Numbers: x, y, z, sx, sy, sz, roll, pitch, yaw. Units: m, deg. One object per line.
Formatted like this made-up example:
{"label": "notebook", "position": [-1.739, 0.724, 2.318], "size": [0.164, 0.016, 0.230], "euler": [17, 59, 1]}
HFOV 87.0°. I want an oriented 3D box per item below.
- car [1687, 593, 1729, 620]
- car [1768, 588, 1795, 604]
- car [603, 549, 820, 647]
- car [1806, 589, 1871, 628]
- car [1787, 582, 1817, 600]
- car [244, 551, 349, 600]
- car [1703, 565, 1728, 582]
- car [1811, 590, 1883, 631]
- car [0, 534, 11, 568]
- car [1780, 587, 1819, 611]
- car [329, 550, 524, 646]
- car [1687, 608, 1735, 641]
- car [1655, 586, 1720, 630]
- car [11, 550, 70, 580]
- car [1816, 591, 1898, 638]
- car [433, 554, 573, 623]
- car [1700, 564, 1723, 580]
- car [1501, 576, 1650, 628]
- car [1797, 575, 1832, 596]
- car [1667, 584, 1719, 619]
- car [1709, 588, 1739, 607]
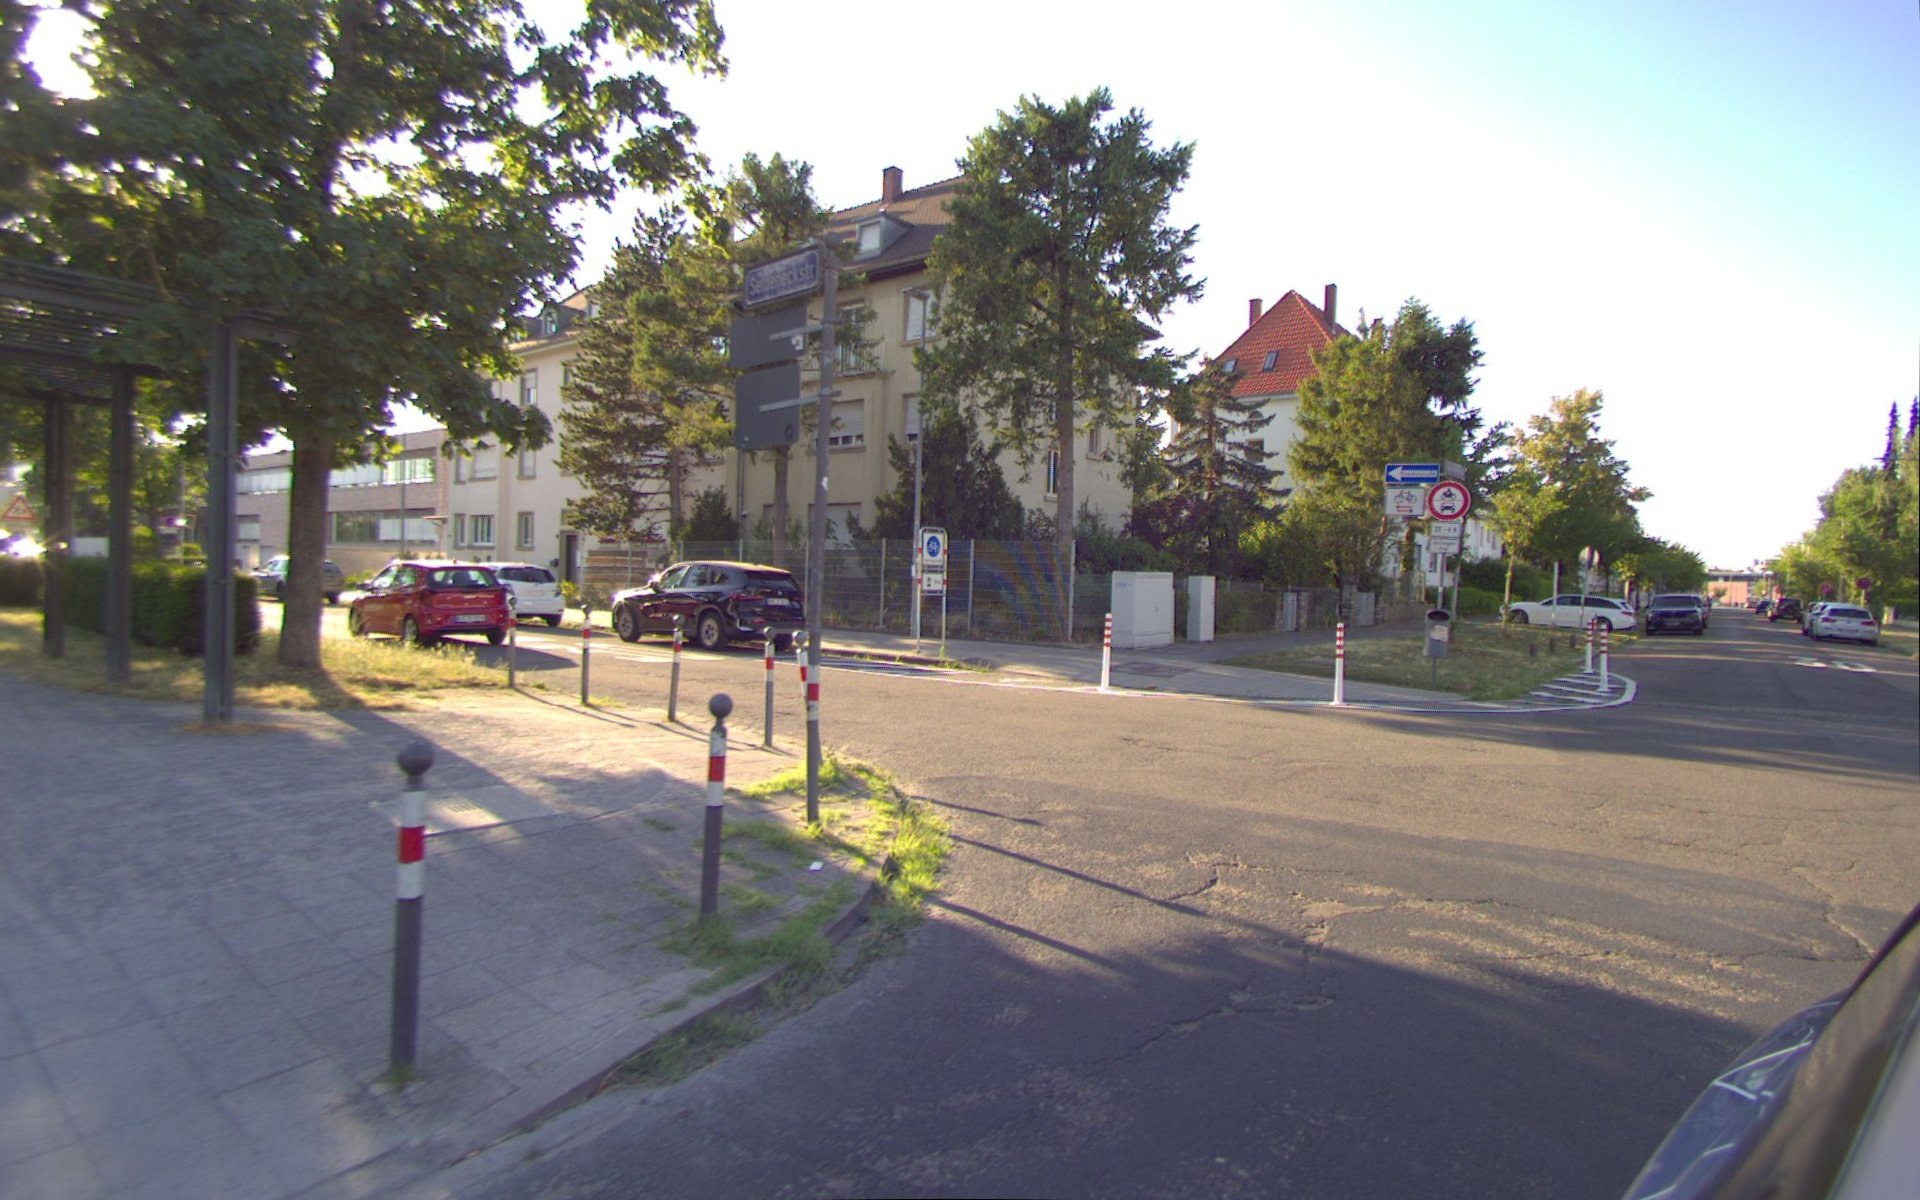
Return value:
{"label": "car", "position": [48.553, 0.387, 65.732], "size": [1.959, 1.634, 4.195], "euler": [2, 2, 34]}
{"label": "car", "position": [87.549, -0.473, 107.882], "size": [1.961, 1.634, 4.191], "euler": [2, 2, 37]}
{"label": "car", "position": [-4.802, -0.063, 19.275], "size": [4.196, 1.662, 1.797], "euler": [2, -1, 39]}
{"label": "car", "position": [41.050, 0.354, 47.379], "size": [1.961, 1.634, 4.191], "euler": [2, 2, 37]}
{"label": "car", "position": [81.292, -0.863, 97.708], "size": [1.961, 1.634, 4.191], "euler": [2, 2, 37]}
{"label": "car", "position": [-22.225, -0.851, 33.869], "size": [3.750, 1.544, 1.749], "euler": [2, 3, 36]}
{"label": "car", "position": [82.273, -2.871, 110.224], "size": [1.959, 1.797, 4.195], "euler": [2, 2, 34]}
{"label": "car", "position": [38.063, 0.409, 43.526], "size": [1.961, 1.634, 4.191], "euler": [2, 2, 37]}
{"label": "car", "position": [-63.601, -3.239, 66.012], "size": [3.981, 2.150, 1.972], "euler": [3, 2, 39]}
{"label": "car", "position": [61.457, -0.085, 74.141], "size": [1.961, 1.634, 4.191], "euler": [2, 2, 37]}
{"label": "car", "position": [-9.706, -0.118, 18.325], "size": [3.753, 1.544, 1.747], "euler": [2, 3, 38]}
{"label": "car", "position": [42.603, 1.332, 57.482], "size": [1.959, 1.634, 4.195], "euler": [2, 2, 34]}
{"label": "car", "position": [29.578, 0.266, 41.259], "size": [1.959, 1.634, 4.195], "euler": [2, 2, 34]}
{"label": "car", "position": [-49.886, -1.927, 54.889], "size": [3.739, 1.537, 1.739], "euler": [3, 2, 37]}
{"label": "car", "position": [34.180, 0.505, 38.657], "size": [1.961, 1.634, 4.191], "euler": [2, 2, 37]}
{"label": "car", "position": [-11.373, -0.344, 25.113], "size": [3.756, 1.544, 1.745], "euler": [3, 3, 40]}
{"label": "car", "position": [90.217, -3.327, 121.551], "size": [1.959, 1.797, 4.195], "euler": [2, 2, 34]}
{"label": "car", "position": [24.275, 0.028, 39.978], "size": [4.812, 1.633, 1.946], "euler": [5, 4, 37]}
{"label": "car", "position": [71.881, -1.215, 85.155], "size": [1.961, 1.634, 4.191], "euler": [2, 2, 37]}
{"label": "car", "position": [36.689, 0.017, 50.738], "size": [1.959, 1.634, 4.195], "euler": [2, 2, 34]}
{"label": "car", "position": [71.635, -0.265, 94.909], "size": [1.959, 1.634, 4.195], "euler": [2, 2, 34]}
